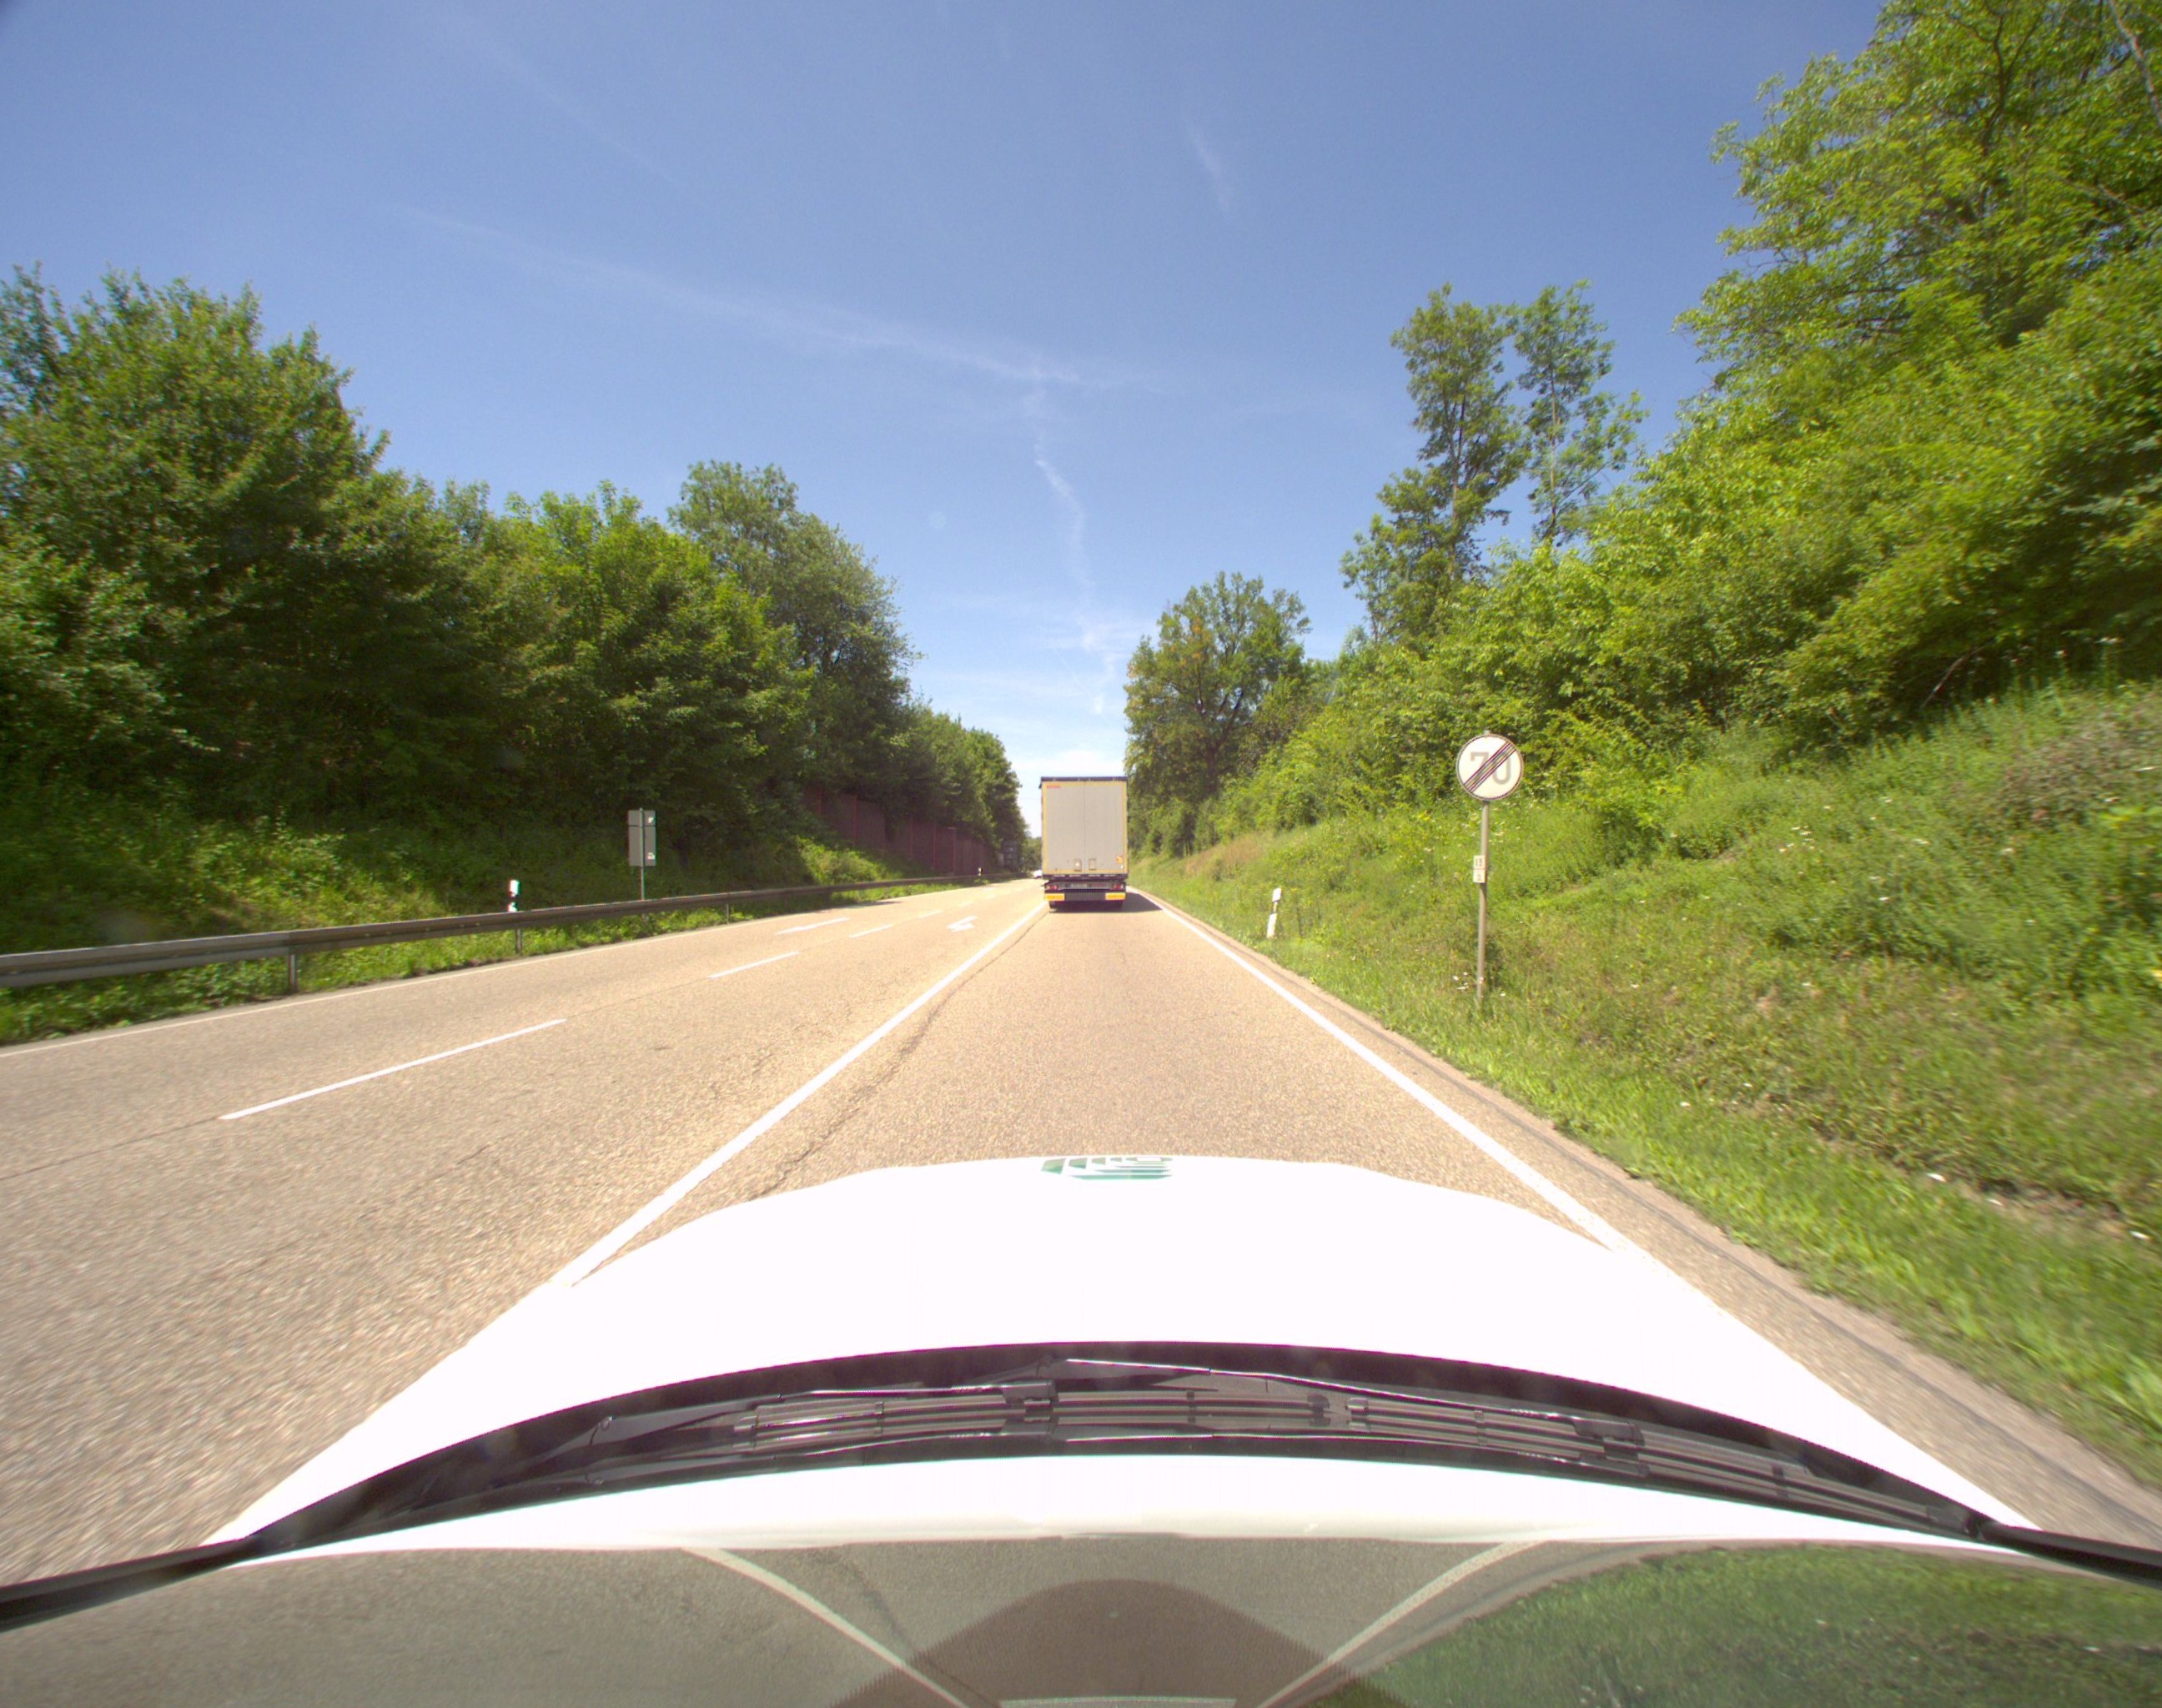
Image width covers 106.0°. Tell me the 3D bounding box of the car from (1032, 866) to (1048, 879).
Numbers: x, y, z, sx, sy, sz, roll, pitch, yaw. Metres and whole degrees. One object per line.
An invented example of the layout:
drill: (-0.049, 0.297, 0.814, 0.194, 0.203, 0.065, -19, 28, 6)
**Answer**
car: (-4.780, 2.183, 94.757, 1.802, 1.435, 3.866, -1, -1, -4)

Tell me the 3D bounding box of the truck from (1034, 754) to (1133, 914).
truck: (0.165, -0.592, 27.065, 2.812, 4.603, 6.667, -1, 0, 1)
